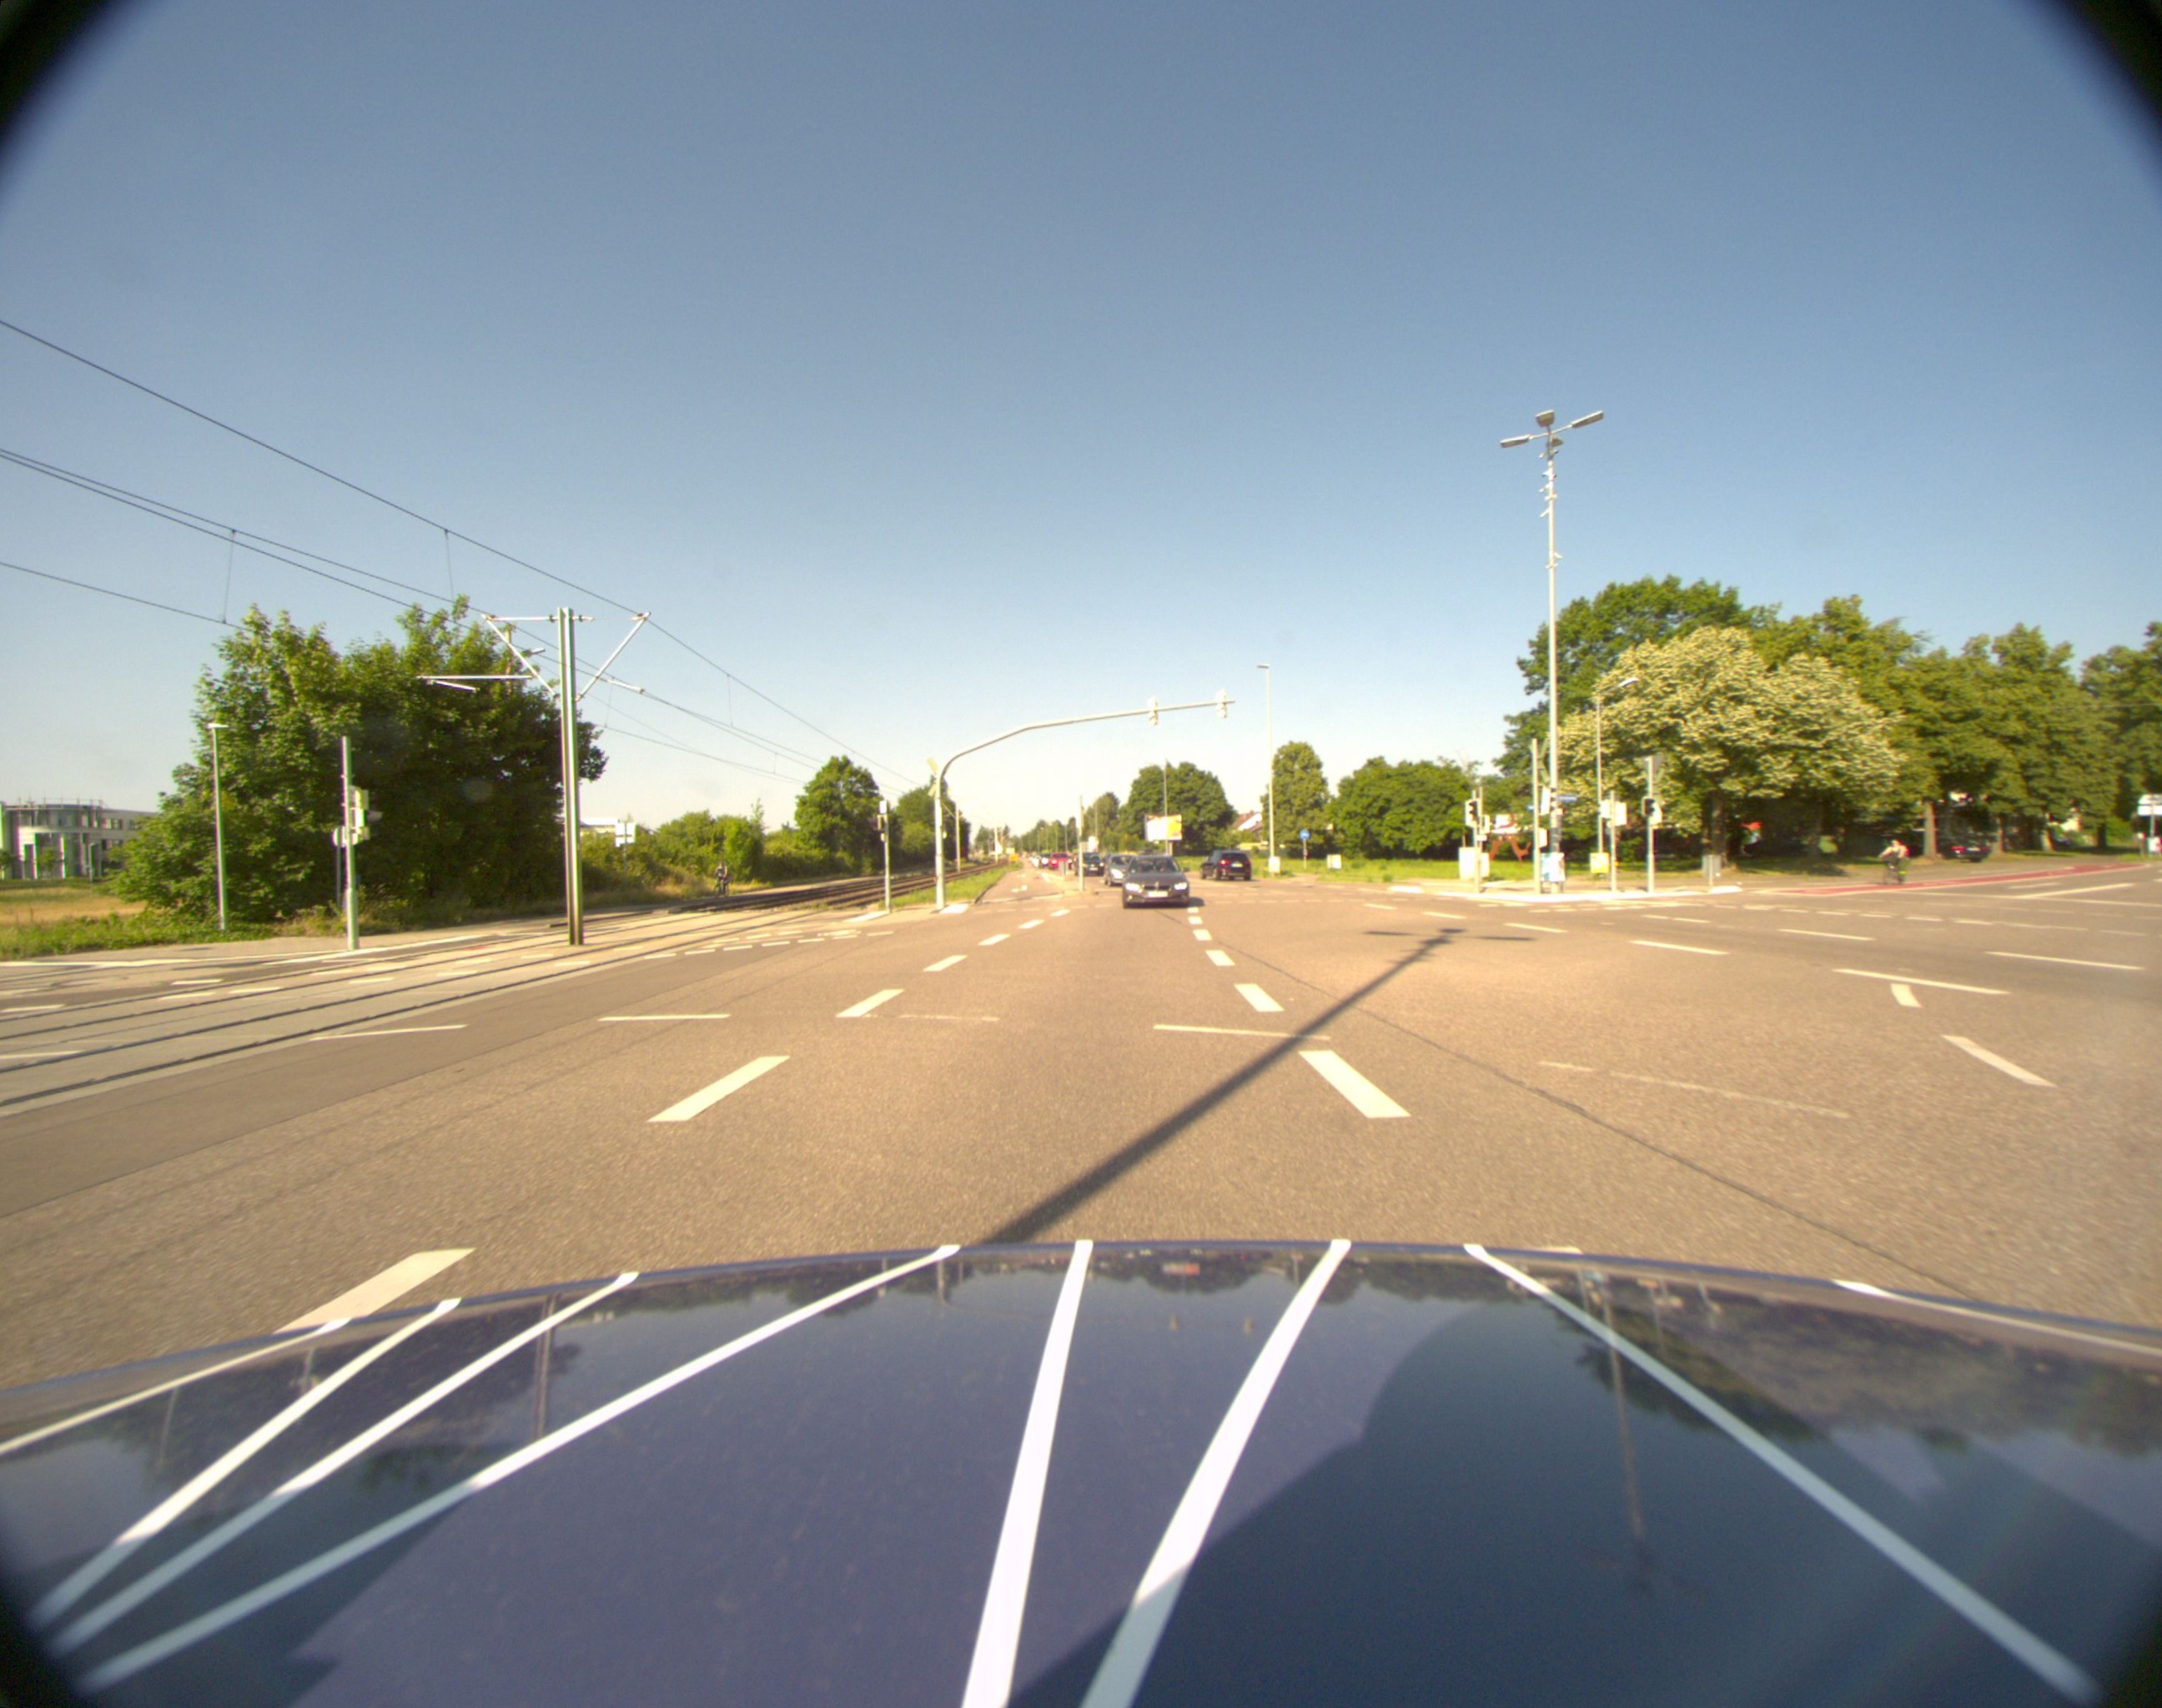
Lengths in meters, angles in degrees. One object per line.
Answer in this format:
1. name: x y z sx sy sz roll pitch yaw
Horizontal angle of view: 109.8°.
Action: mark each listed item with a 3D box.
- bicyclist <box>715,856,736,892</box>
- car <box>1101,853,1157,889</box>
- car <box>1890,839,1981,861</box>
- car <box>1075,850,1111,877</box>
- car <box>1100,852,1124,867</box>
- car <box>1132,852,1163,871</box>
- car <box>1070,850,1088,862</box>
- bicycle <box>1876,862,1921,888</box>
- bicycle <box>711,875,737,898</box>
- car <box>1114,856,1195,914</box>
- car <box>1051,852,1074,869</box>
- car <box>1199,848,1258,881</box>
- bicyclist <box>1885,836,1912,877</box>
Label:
1. bicyclist: -18.021 1.005 38.487 0.708 1.797 0.717 -2 1 -5
2. car: 2.132 0.746 35.117 1.822 1.481 4.608 -1 0 -5
3. car: 53.046 -0.269 47.307 1.522 1.313 4.775 -1 0 17
4. car: 0.742 0.578 50.147 1.822 1.641 4.608 -2 1 -5
5. car: 3.195 0.555 79.439 1.894 1.465 4.097 -1 0 -6
6. car: 5.419 0.614 62.555 1.794 1.511 3.997 -1 0 -7
7. car: -0.257 0.299 101.686 1.751 1.553 3.996 0 0 -10
8. bicycle: 30.933 0.785 28.737 1.812 0.898 0.653 -2 1 -26
9. bicycle: -18.017 1.637 38.383 0.547 1.041 1.873 -2 0 -4
10. car: 1.984 0.796 21.782 1.821 1.416 4.461 -1 0 -1
11. car: -1.764 0.578 70.630 1.808 1.498 4.195 -2 0 -5
12. car: 7.842 0.539 40.813 1.995 1.649 4.382 -1 0 -5
13. bicyclist: 30.879 0.087 28.702 0.628 1.515 0.616 -2 0 -38
